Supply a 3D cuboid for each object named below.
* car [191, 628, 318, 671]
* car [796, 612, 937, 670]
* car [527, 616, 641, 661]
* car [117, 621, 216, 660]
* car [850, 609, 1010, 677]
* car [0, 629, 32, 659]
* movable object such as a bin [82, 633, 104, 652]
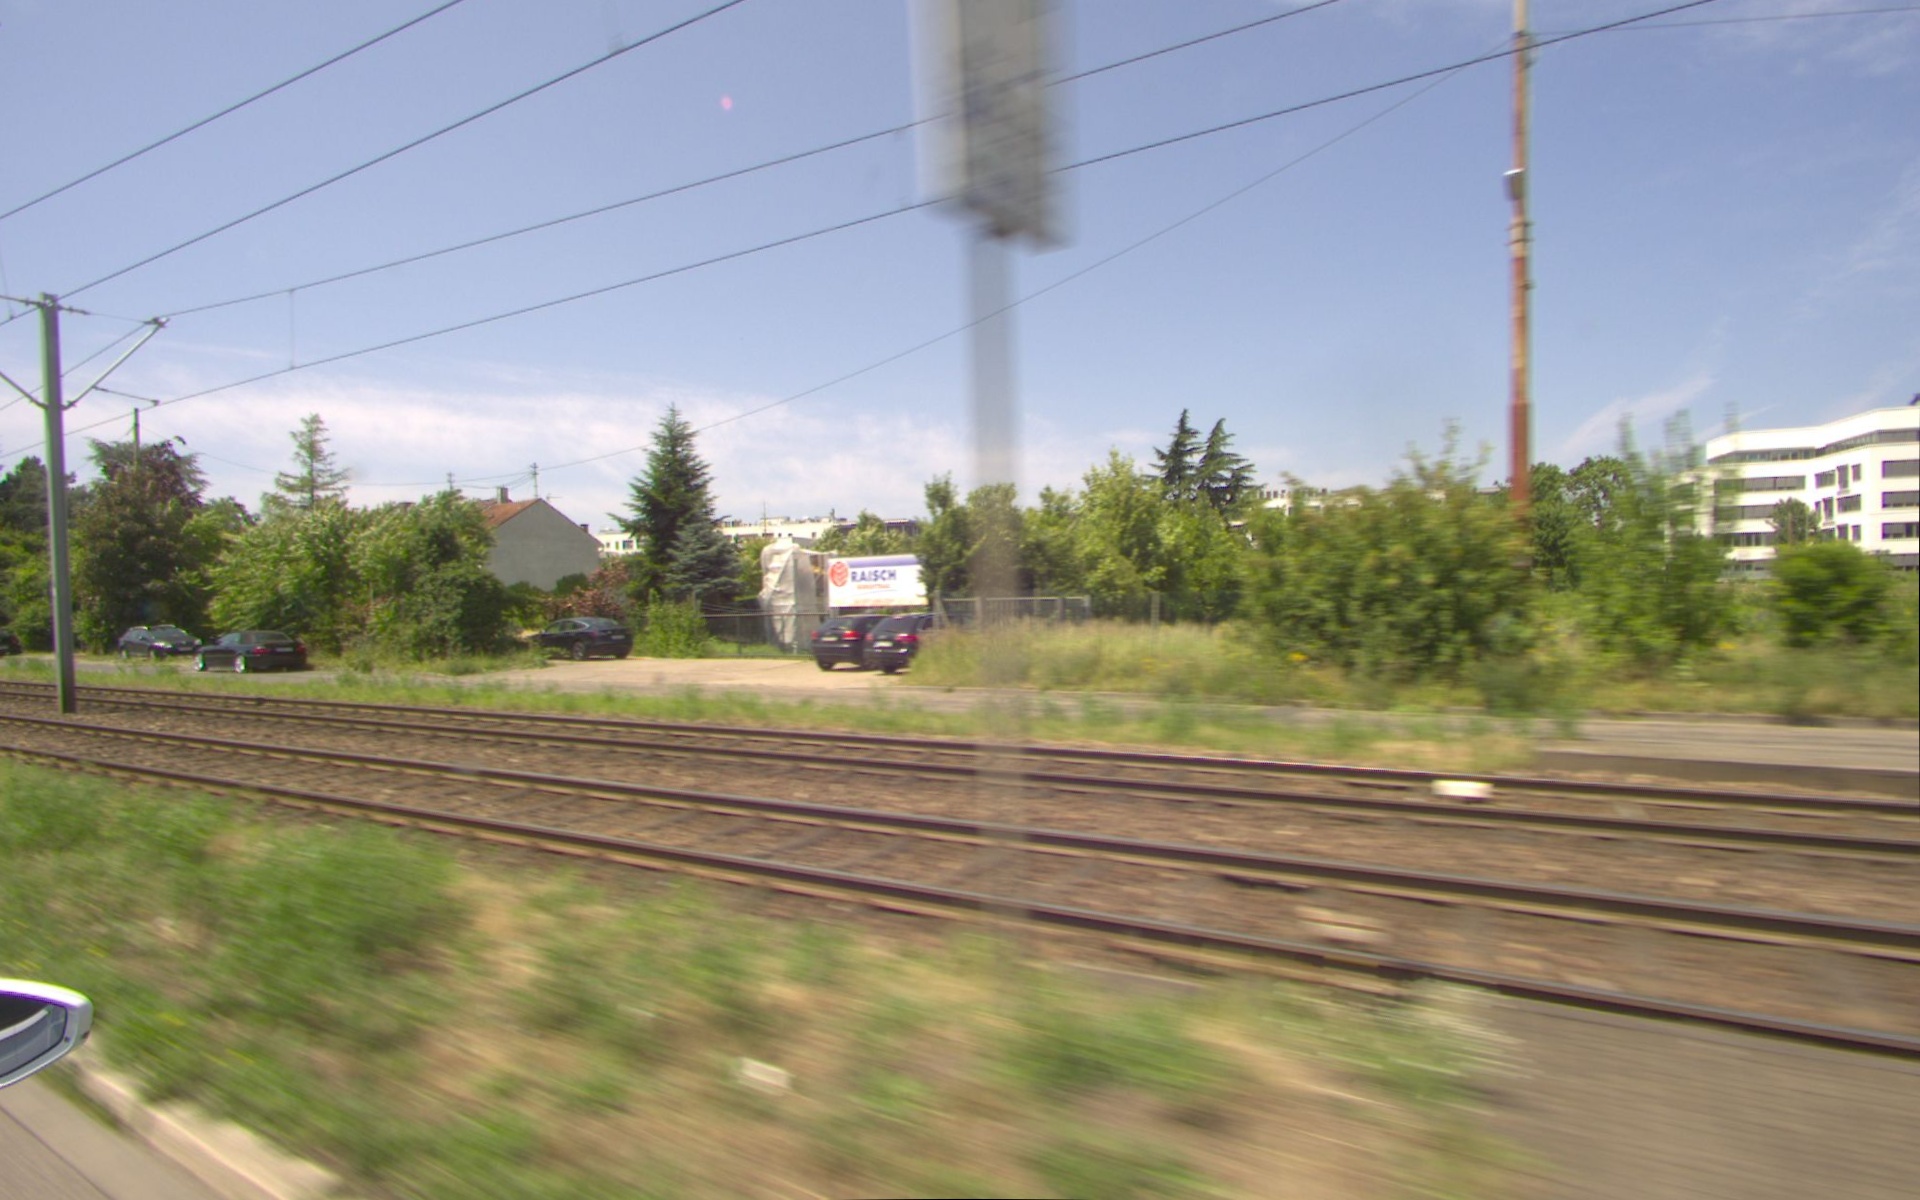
[{"bbox_3d":[-23.541,1.622,33.371,4.449,1.347,1.858,-1,-1,31],"label":"car"},{"bbox_3d":[-2.437,1.059,26.825,1.872,1.437,3.719,-1,-1,33],"label":"car"},{"bbox_3d":[-12.819,1.301,34.117,3.685,1.437,1.717,-1,-1,31],"label":"car"},{"bbox_3d":[-34.329,1.745,43.311,4.490,1.581,1.931,-1,-1,31],"label":"car"},{"bbox_3d":[-0.665,1.011,24.754,1.875,1.537,3.972,-1,-1,38],"label":"car"},{"bbox_3d":[-49.854,2.279,51.788,3.945,1.489,1.909,-1,-1,34],"label":"car"},{"bbox_3d":[-44.725,2.171,51.650,0.612,0.949,0.722,-1,-1,33],"label":"movable object such as a bin"}]
